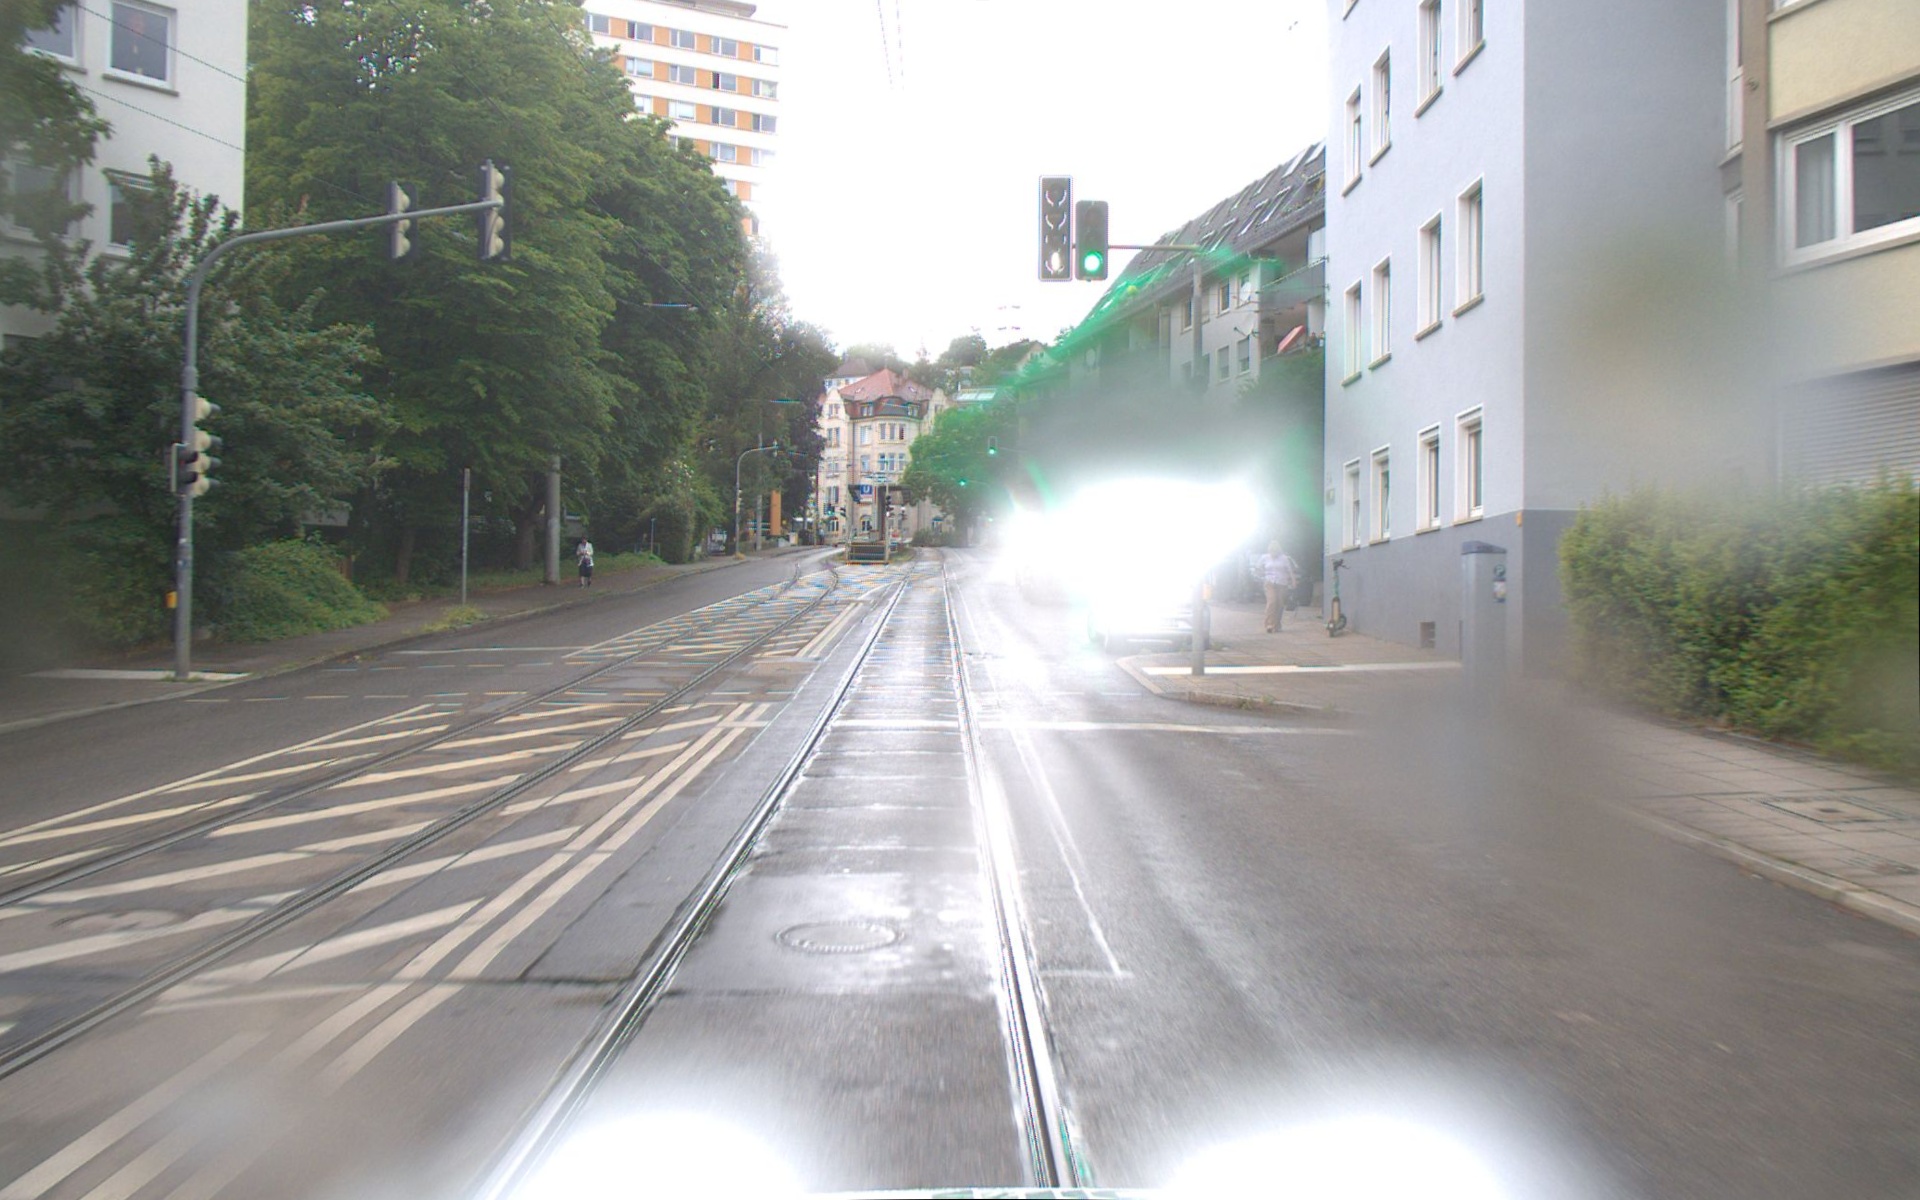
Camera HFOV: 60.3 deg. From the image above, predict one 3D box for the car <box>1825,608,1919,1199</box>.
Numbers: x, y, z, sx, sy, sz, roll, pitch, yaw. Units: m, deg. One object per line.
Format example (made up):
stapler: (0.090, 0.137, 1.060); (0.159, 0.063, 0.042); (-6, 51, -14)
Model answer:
car: (3.445, 0.775, 2.509); (1.901, 1.490, 4.203); (1, -1, -3)

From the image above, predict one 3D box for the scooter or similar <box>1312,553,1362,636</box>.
scooter or similar: (6.384, -0.113, 28.033); (0.562, 1.270, 1.612); (-2, 4, 4)

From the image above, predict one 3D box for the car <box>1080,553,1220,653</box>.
car: (3.060, -0.015, 27.389); (1.670, 1.458, 4.101); (2, 2, -2)

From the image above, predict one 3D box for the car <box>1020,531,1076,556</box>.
car: (6.405, -4.107, 120.345); (3.906, 1.674, 1.807); (1, 0, -2)

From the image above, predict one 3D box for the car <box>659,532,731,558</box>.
car: (-15.822, -3.272, 98.799); (3.905, 1.430, 1.682); (1, -2, 22)

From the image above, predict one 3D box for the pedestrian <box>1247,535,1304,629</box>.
pedestrian: (5.599, -0.334, 29.387); (0.864, 1.610, 0.802); (-1, 3, 1)

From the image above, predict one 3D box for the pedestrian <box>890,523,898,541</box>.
pedestrian: (-5.716, -5.843, 142.973); (0.644, 1.492, 0.772); (0, -2, 1)

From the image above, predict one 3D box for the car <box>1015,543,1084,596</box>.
car: (2.631, -0.951, 49.536); (1.670, 1.452, 4.250); (2, 2, -2)

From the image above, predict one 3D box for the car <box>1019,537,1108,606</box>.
car: (2.661, -0.789, 43.627); (1.868, 1.670, 4.688); (2, 2, -2)

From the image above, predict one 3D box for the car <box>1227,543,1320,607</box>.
car: (8.631, -0.656, 45.885); (1.685, 1.541, 4.202); (1, -2, -1)

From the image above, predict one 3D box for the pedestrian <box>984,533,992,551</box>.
pedestrian: (2.496, -5.135, 146.658); (0.567, 1.492, 0.543); (2, -2, -9)

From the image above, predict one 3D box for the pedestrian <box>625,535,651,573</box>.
pedestrian: (-14.725, -2.100, 75.642); (0.897, 1.707, 0.740); (0, -2, 26)

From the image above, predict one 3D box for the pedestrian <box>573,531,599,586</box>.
pedestrian: (-11.253, -1.250, 49.797); (0.571, 1.628, 0.868); (3, 1, -5)

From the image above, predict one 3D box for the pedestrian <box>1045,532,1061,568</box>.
pedestrian: (4.362, -2.354, 77.426); (0.630, 1.657, 0.700); (1, 0, 11)
